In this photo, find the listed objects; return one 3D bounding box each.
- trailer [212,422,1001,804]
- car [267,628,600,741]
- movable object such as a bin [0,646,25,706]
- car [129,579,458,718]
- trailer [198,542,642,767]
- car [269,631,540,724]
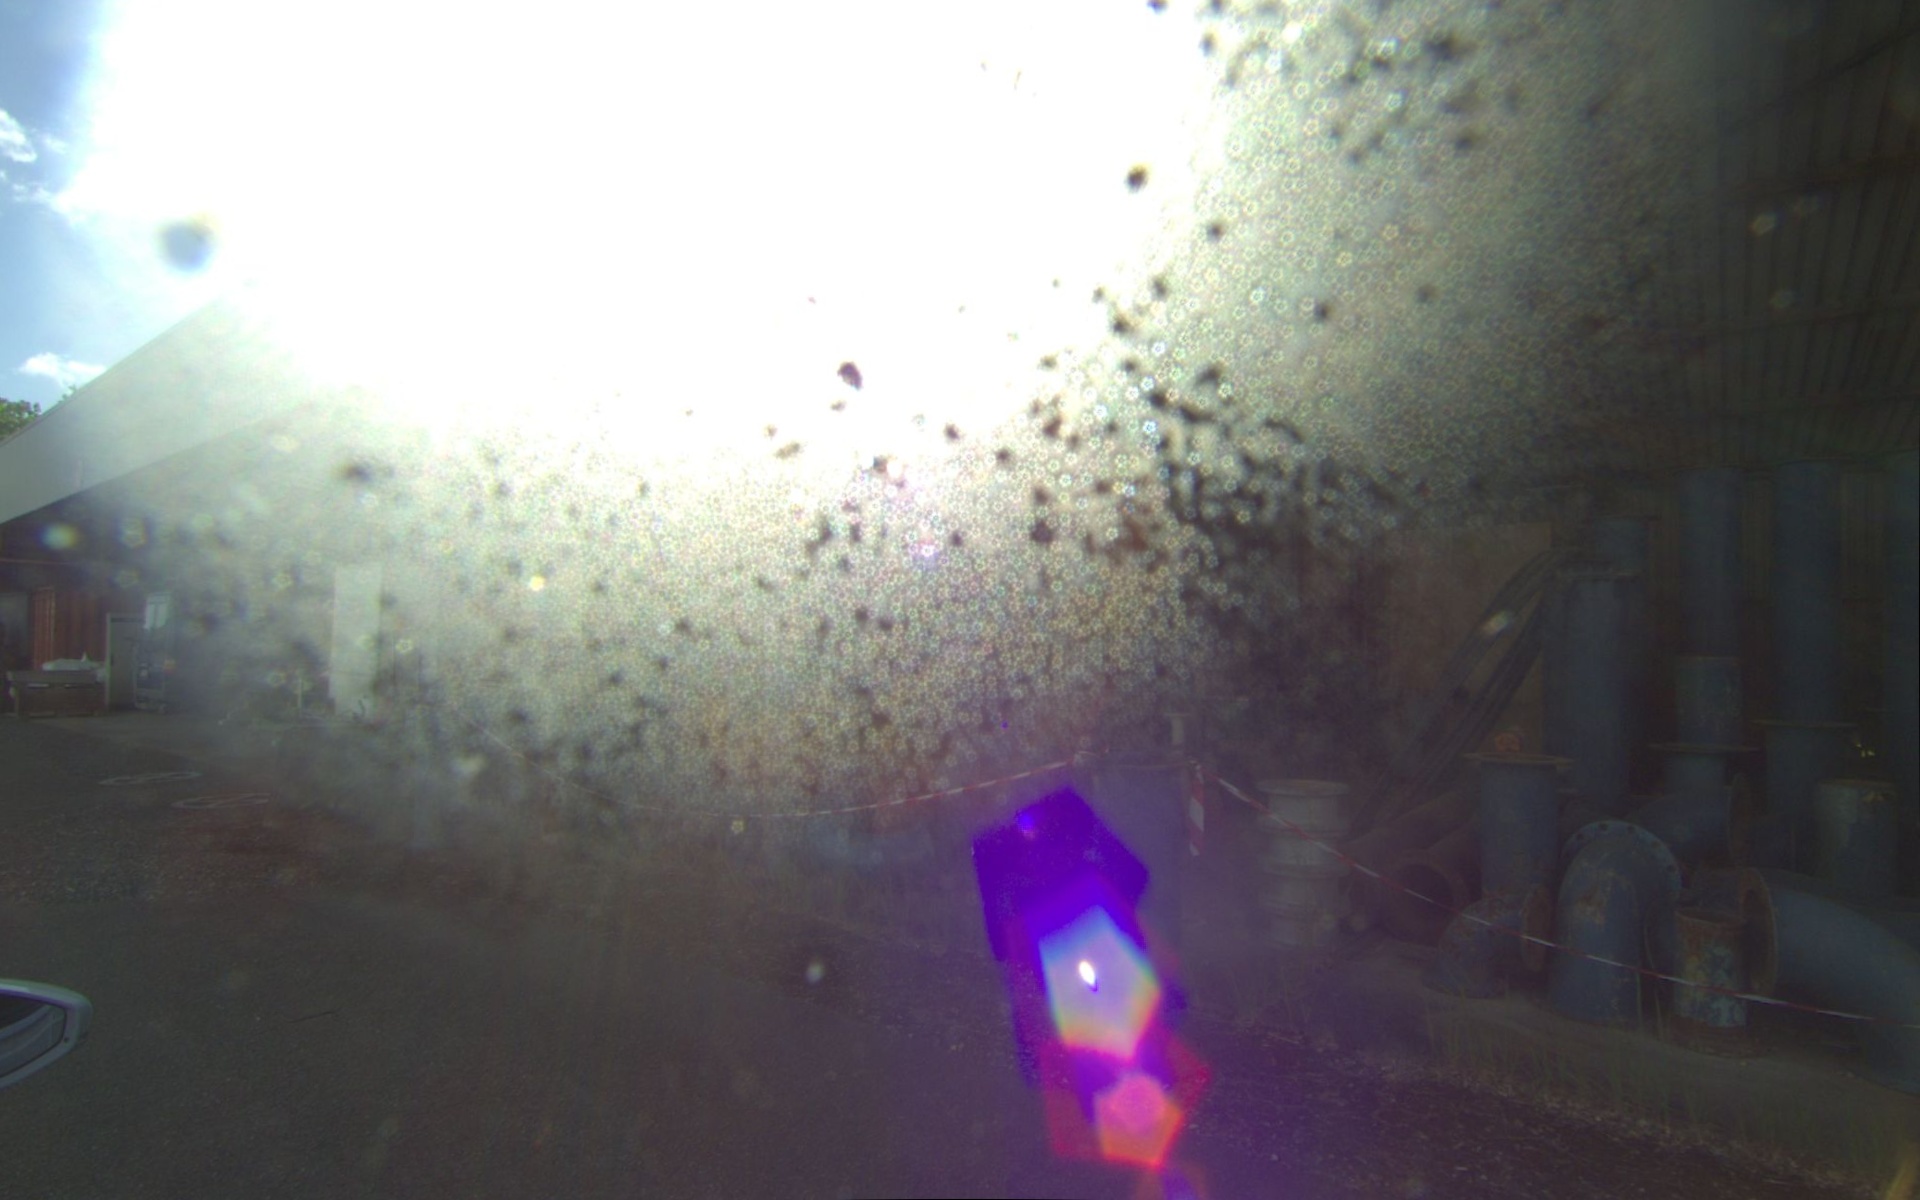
[{"bbox_3d":[-3.493,0.352,13.387,2.818,3.256,10.005,-1,-3,38],"label":"trailer"},{"bbox_3d":[-8.099,1.257,15.791,1.754,1.514,4.318,-1,-3,36],"label":"car"},{"bbox_3d":[-19.361,1.523,20.224,1.224,1.179,0.579,-1,-2,43],"label":"movable object such as a bin"},{"bbox_3d":[-12.794,0.970,19.559,1.975,2.354,4.963,-1,-3,38],"label":"car"},{"bbox_3d":[-6.834,0.708,13.163,1.807,2.421,4.789,-1,-3,43],"label":"trailer"},{"bbox_3d":[-10.021,1.363,18.358,1.763,1.491,3.980,-1,-3,33],"label":"car"}]
